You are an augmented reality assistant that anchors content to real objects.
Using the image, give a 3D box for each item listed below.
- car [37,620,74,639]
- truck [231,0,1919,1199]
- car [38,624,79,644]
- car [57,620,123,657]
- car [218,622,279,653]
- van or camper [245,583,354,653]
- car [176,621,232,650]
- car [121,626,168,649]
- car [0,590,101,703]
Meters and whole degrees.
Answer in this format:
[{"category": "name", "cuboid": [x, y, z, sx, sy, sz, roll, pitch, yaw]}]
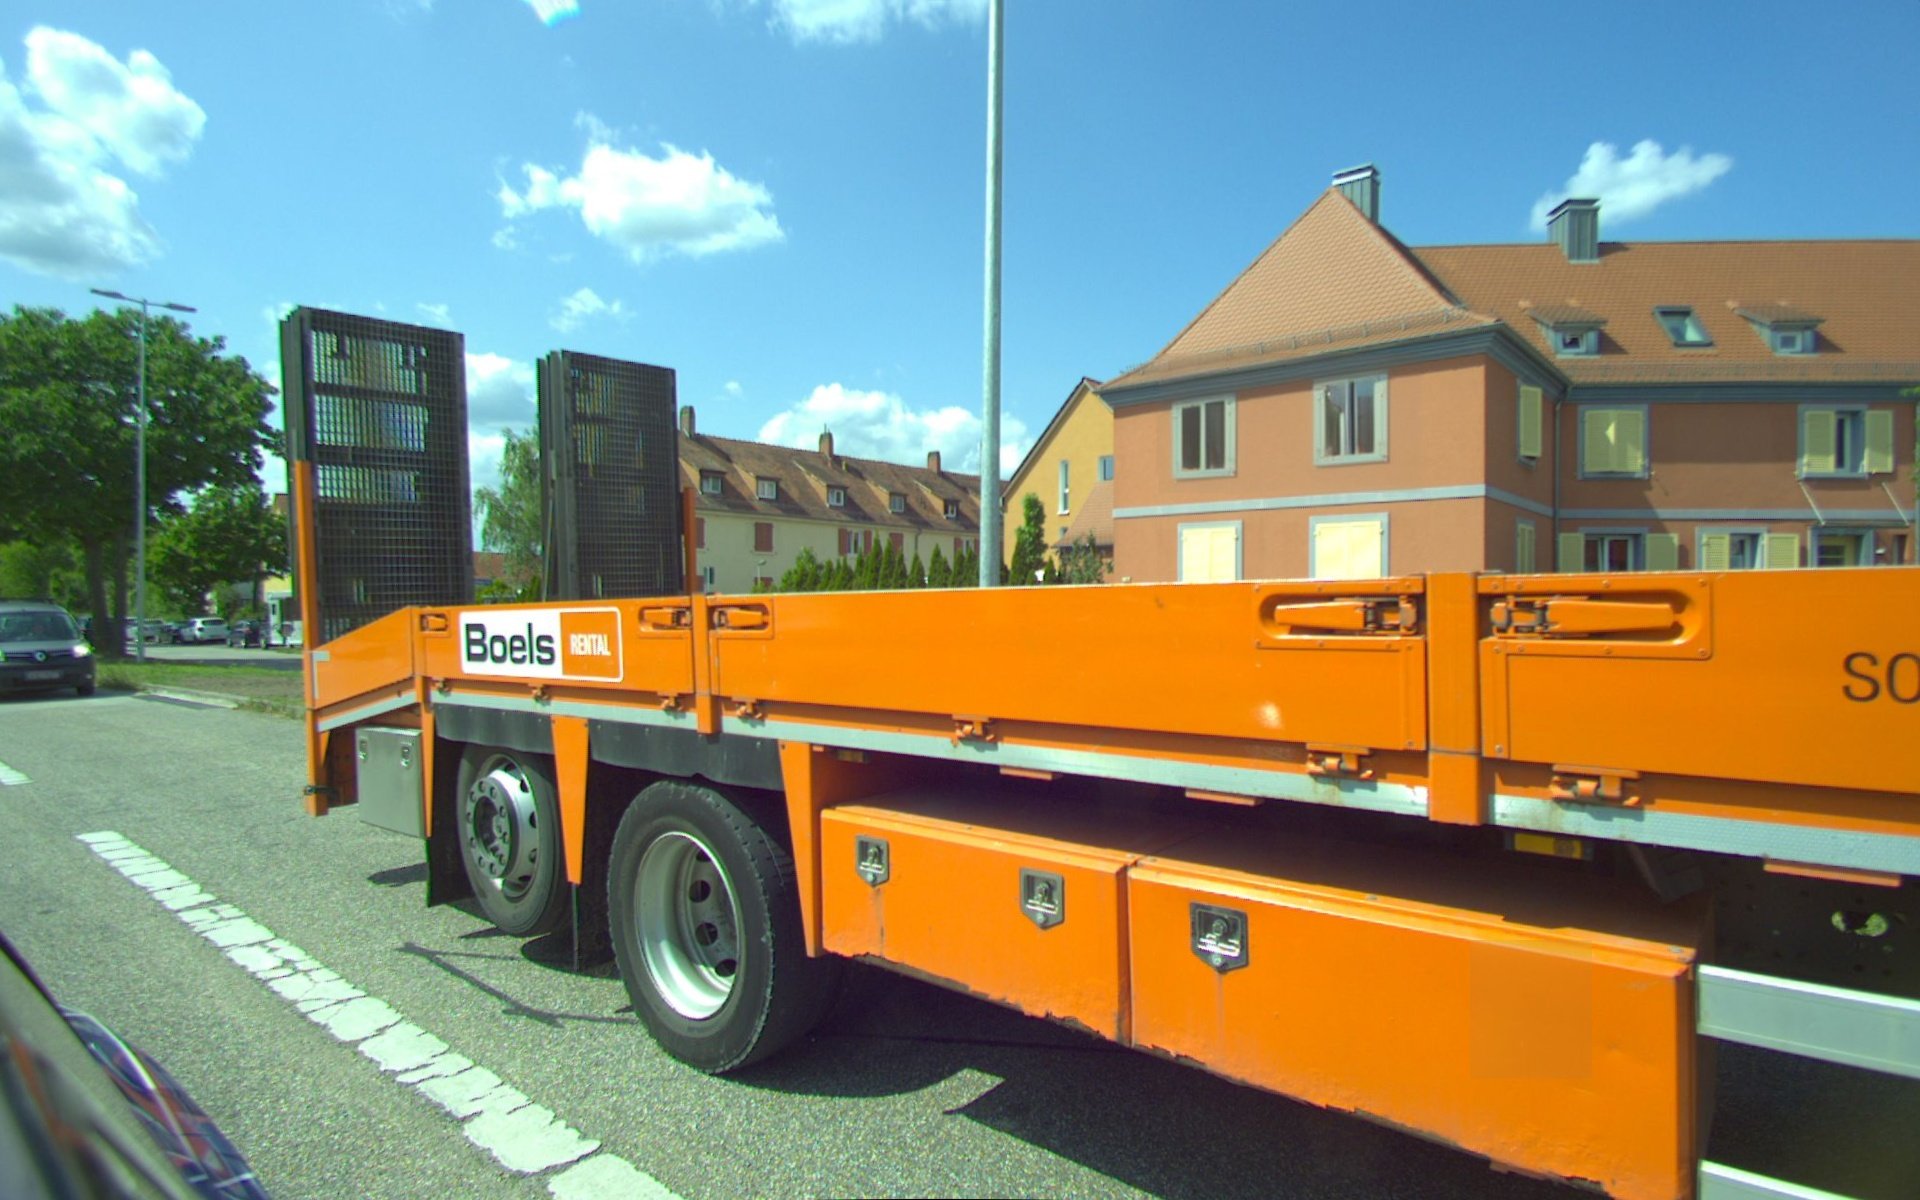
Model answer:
[{"category": "car", "cuboid": [-77.004, 2.529, 86.156, 3.840, 1.462, 1.645, 0, 2, 37]}, {"category": "truck", "cuboid": [1.121, -0.420, 3.121, 11.064, 3.439, 3.039, 0, 2, 42]}, {"category": "car", "cuboid": [-71.879, 2.719, 80.660, 4.096, 1.492, 1.645, -1, 1, 37]}, {"category": "car", "cuboid": [-41.532, 1.788, 48.280, 3.997, 1.702, 1.776, -1, -1, 40]}, {"category": "car", "cuboid": [-37.815, 1.959, 53.752, 3.989, 1.496, 1.620, 0, 2, 40]}, {"category": "van or camper", "cuboid": [-32.392, 0.880, 49.487, 7.311, 3.135, 2.237, -2, 1, 39]}, {"category": "car", "cuboid": [-44.137, 2.047, 59.091, 4.120, 1.496, 1.672, 0, 2, 40]}, {"category": "car", "cuboid": [-53.602, 2.410, 66.490, 4.527, 1.380, 1.496, -1, 1, 40]}, {"category": "car", "cuboid": [-18.122, 0.809, 19.357, 4.537, 1.918, 1.746, 0, 2, 39]}]
